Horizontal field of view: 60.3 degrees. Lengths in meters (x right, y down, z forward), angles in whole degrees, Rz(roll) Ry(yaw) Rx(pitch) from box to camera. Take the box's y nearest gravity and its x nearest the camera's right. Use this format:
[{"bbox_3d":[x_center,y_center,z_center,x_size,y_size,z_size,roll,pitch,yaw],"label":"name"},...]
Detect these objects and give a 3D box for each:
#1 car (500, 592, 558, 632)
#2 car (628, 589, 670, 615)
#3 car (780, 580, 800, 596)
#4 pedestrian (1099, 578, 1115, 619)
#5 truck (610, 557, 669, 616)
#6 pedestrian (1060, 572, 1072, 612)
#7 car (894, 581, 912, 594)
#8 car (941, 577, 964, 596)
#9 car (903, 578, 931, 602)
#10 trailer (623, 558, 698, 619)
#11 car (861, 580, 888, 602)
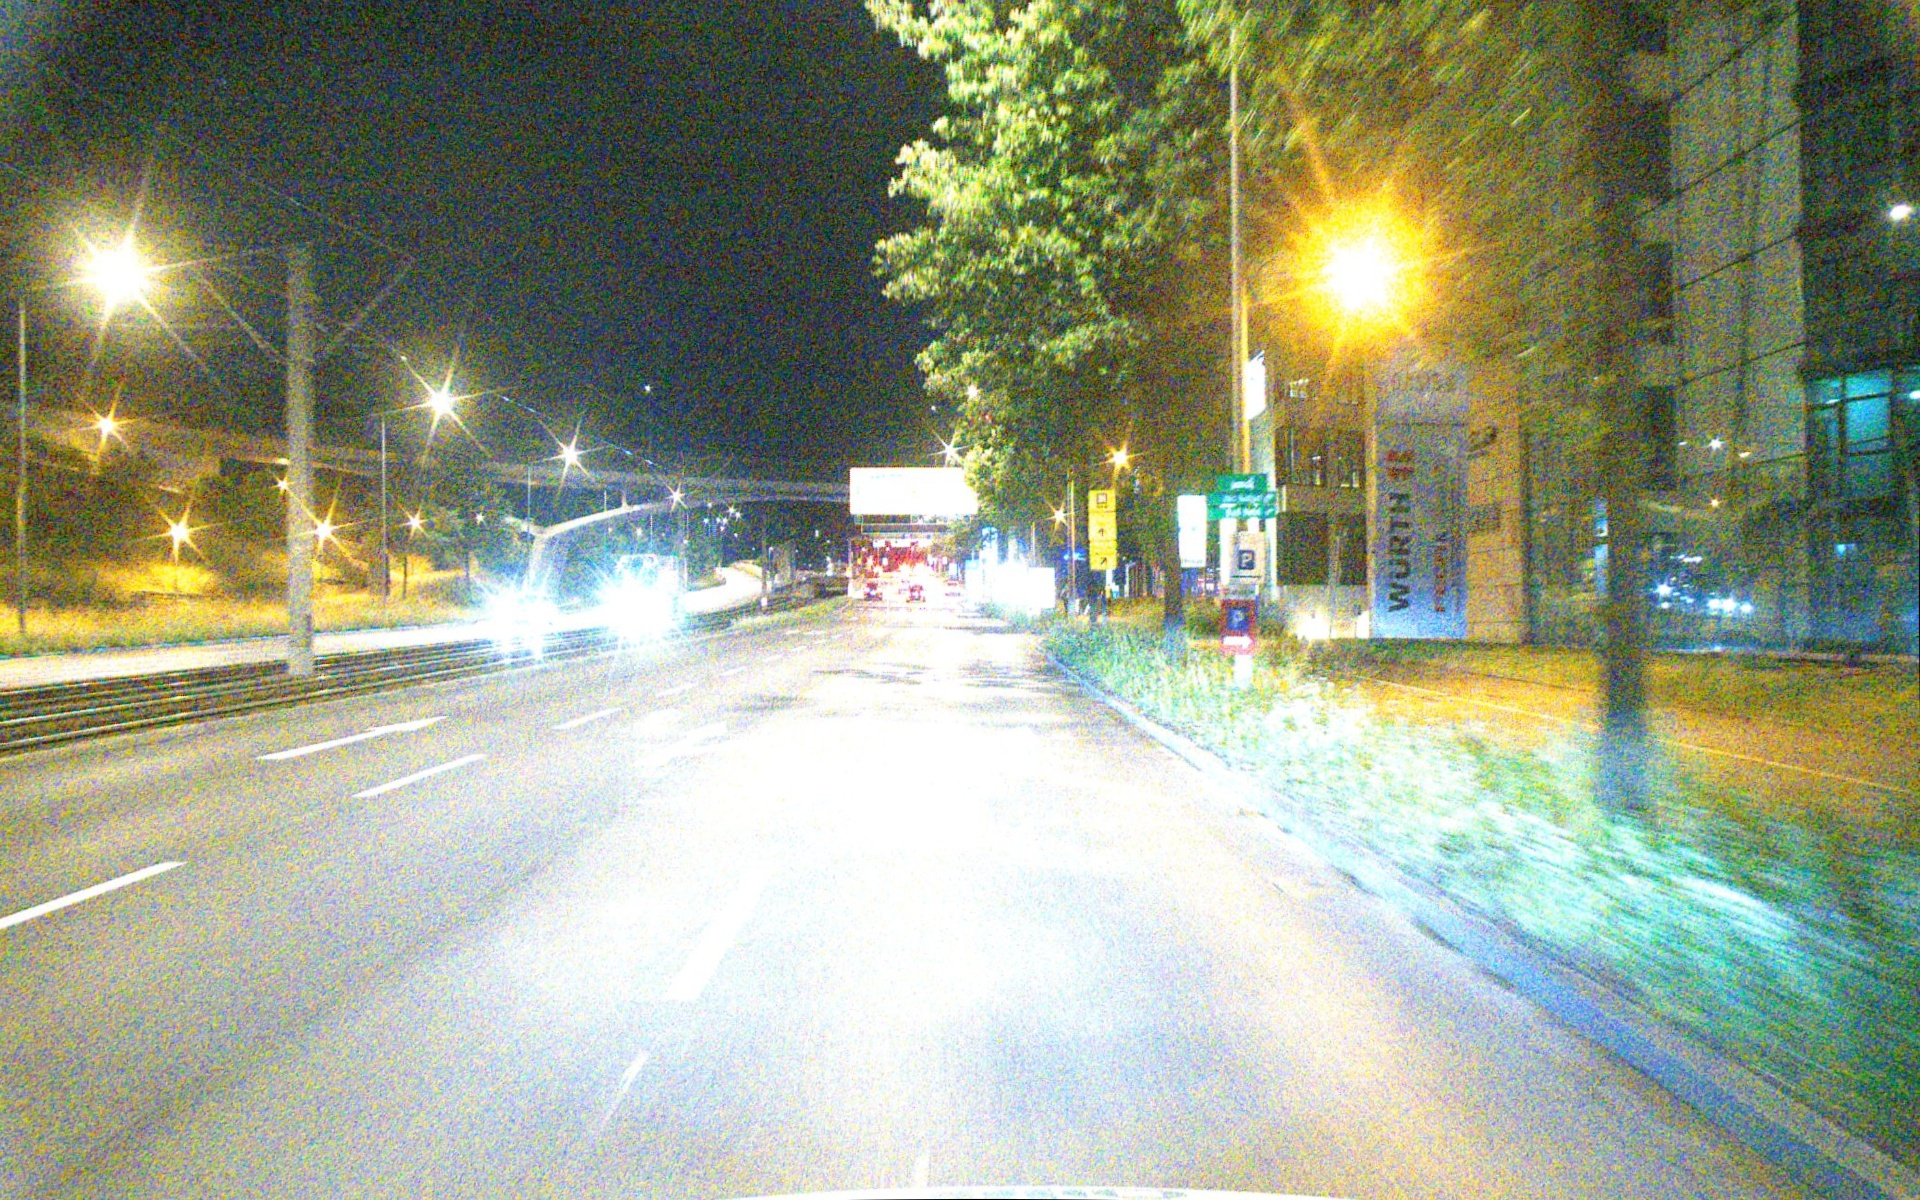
[{"bbox_3d":[-20.088,0.526,77.235,1.825,1.780,3.700,0,1,-1],"label":"car"},{"bbox_3d":[-18.497,0.119,98.518,1.872,1.499,3.771,0,1,-1],"label":"car"},{"bbox_3d":[-19.300,-1.340,188.146,1.953,1.733,4.000,0,1,-1],"label":"car"},{"bbox_3d":[7.542,-0.066,84.676,0.746,2.099,0.643,0,1,-1],"label":"pedestrian"},{"bbox_3d":[-21.263,-0.931,110.076,2.979,3.886,4.935,0,1,0],"label":"truck"},{"bbox_3d":[6.599,-0.514,103.068,0.729,2.477,0.780,1,0,2],"label":"pedestrian"},{"bbox_3d":[-6.585,-1.438,191.334,1.953,1.580,4.000,0,0,-1],"label":"car"},{"bbox_3d":[-0.819,-1.524,185.722,2.377,2.150,4.828,0,1,2],"label":"car"},{"bbox_3d":[-3.941,-0.901,153.207,2.307,2.166,4.828,0,1,2],"label":"car"},{"bbox_3d":[-21.313,-0.893,118.521,2.933,4.070,13.955,0,1,0],"label":"trailer"},{"bbox_3d":[-8.166,-0.893,158.485,2.215,2.049,4.828,0,1,2],"label":"car"}]
